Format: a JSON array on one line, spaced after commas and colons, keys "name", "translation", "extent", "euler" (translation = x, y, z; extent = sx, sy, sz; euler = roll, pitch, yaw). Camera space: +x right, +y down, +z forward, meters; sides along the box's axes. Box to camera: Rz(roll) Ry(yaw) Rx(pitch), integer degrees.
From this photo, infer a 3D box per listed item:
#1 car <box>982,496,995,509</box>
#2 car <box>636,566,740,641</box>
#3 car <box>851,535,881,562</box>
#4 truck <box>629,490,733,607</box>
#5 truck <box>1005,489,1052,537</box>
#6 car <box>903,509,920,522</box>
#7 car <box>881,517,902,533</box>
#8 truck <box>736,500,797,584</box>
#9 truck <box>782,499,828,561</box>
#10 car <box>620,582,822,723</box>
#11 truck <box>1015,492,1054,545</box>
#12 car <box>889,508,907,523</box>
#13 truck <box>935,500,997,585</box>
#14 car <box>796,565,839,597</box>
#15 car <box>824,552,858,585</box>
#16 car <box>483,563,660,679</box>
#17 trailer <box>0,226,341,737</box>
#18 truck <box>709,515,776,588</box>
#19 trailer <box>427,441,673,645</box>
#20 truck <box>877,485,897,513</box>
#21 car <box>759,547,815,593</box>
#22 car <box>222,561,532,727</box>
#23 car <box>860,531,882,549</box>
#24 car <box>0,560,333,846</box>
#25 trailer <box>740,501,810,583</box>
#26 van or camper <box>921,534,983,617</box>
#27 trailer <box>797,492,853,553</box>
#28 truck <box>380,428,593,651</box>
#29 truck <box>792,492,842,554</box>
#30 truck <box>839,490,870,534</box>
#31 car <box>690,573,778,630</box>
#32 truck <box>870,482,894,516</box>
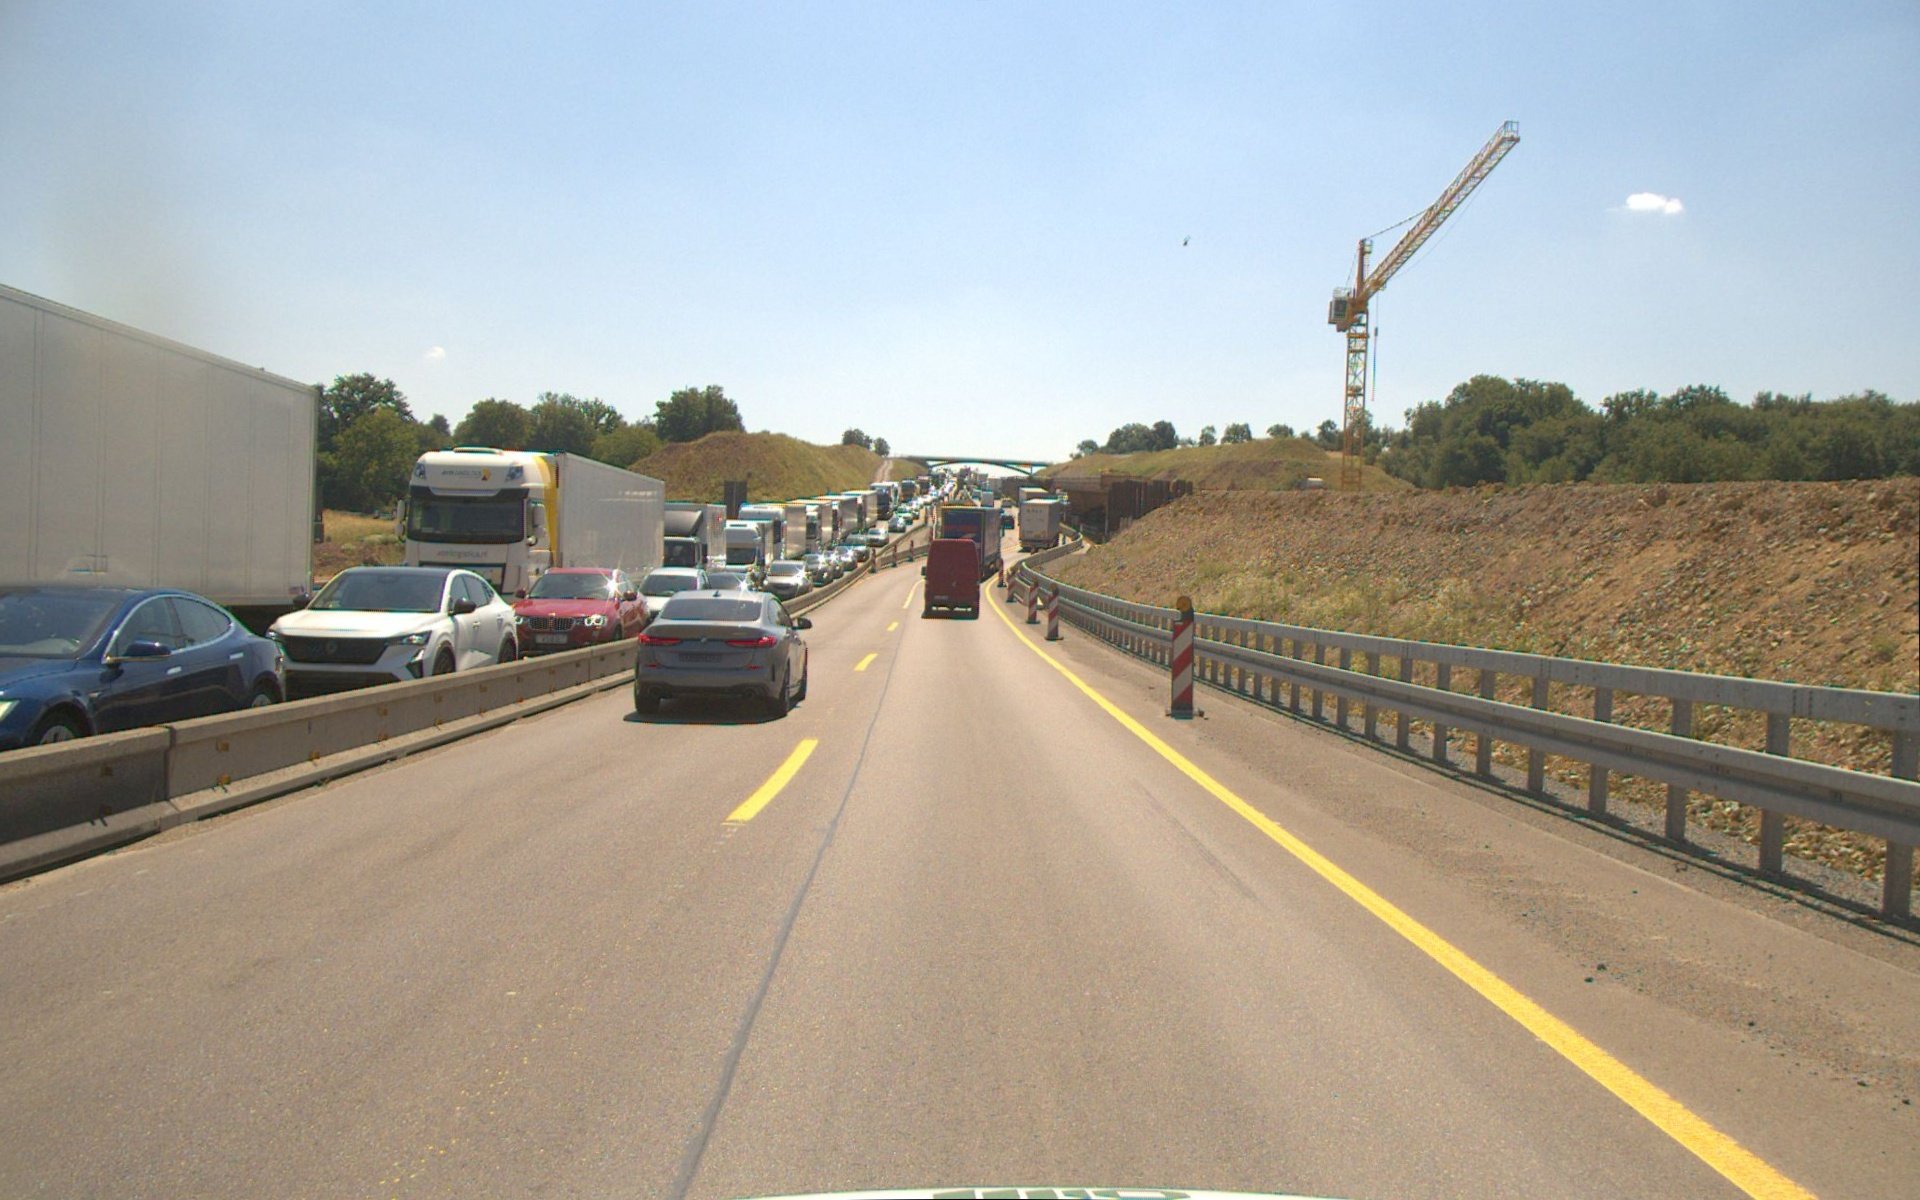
[{"name": "car", "translation": [4.372, -15.065, 255.336], "extent": [1.913, 1.669, 4.267], "euler": [1, 0, -1]}, {"name": "car", "translation": [-6.236, 0.058, 38.343], "extent": [1.790, 1.601, 3.999], "euler": [1, 0, -1]}, {"name": "car", "translation": [-6.662, -3.680, 117.650], "extent": [1.953, 1.814, 3.999], "euler": [1, 2, -2]}, {"name": "truck", "translation": [-10.090, -1.868, 60.721], "extent": [2.474, 3.922, 8.670], "euler": [1, 1, -1]}, {"name": "truck", "translation": [7.862, -9.807, 189.454], "extent": [5.053, 5.083, 13.882], "euler": [-1, 2, 2]}, {"name": "car", "translation": [-5.980, -10.427, 204.424], "extent": [1.913, 1.556, 4.267], "euler": [1, 2, -1]}, {"name": "car", "translation": [-6.939, -7.644, 168.295], "extent": [1.913, 1.556, 4.267], "euler": [1, 2, -1]}, {"name": "truck", "translation": [-10.324, -3.107, 88.816], "extent": [2.499, 4.304, 6.531], "euler": [1, 2, -1]}, {"name": "truck", "translation": [-10.399, -4.645, 111.368], "extent": [2.726, 3.937, 5.459], "euler": [1, 0, -2]}, {"name": "car", "translation": [-2.815, 0.554, 20.506], "extent": [1.814, 1.477, 4.742], "euler": [1, 1, 0]}, {"name": "truck", "translation": [6.385, -6.904, 141.181], "extent": [2.974, 4.172, 7.089], "euler": [1, 0, 5]}, {"name": "car", "translation": [-7.026, -9.602, 188.137], "extent": [1.913, 1.556, 4.267], "euler": [1, 2, -1]}, {"name": "truck", "translation": [0.413, -3.375, 96.725], "extent": [2.956, 4.774, 6.938], "euler": [0, 2, 5]}, {"name": "car", "translation": [-7.207, -0.969, 84.024], "extent": [1.790, 1.562, 4.546], "euler": [1, 0, -1]}, {"name": "car", "translation": [-7.488, -1.982, 104.631], "extent": [1.953, 1.814, 3.998], "euler": [1, -2, -2]}, {"name": "car", "translation": [-6.487, 0.277, 28.183], "extent": [1.953, 1.659, 4.757], "euler": [2, 2, -2]}, {"name": "trailer", "translation": [-9.949, -1.081, 15.633], "extent": [3.077, 4.459, 14.076], "euler": [1, 1, -1]}, {"name": "truck", "translation": [-9.972, -2.275, 76.348], "extent": [2.385, 3.202, 7.023], "euler": [1, 2, -2]}, {"name": "trailer", "translation": [-9.976, -1.349, 42.309], "extent": [2.925, 4.281, 13.945], "euler": [1, 1, -1]}, {"name": "truck", "translation": [-10.812, -14.856, 243.706], "extent": [2.830, 3.905, 7.999], "euler": [1, 2, -2]}, {"name": "car", "translation": [-7.023, -1.180, 67.410], "extent": [1.790, 1.679, 4.545], "euler": [-4, 0, -1]}, {"name": "car", "translation": [-6.498, 0.424, 19.091], "extent": [1.953, 1.648, 4.880], "euler": [1, 0, -2]}, {"name": "car", "translation": [-7.573, -5.119, 141.086], "extent": [1.711, 1.433, 4.000], "euler": [1, 2, -1]}, {"name": "car", "translation": [-6.148, 0.518, 11.255], "extent": [1.775, 1.462, 5.122], "euler": [2, 2, 0]}, {"name": "trailer", "translation": [-10.363, -3.263, 93.891], "extent": [2.542, 4.331, 12.468], "euler": [1, 2, 0]}, {"name": "van or camper", "translation": [-0.338, -0.902, 58.596], "extent": [1.988, 2.791, 4.514], "euler": [1, 2, -2]}, {"name": "trailer", "translation": [-10.667, -6.099, 131.805], "extent": [2.979, 4.631, 12.132], "euler": [1, 2, 2]}, {"name": "truck", "translation": [-9.861, -1.228, 35.134], "extent": [2.917, 4.257, 5.873], "euler": [1, 1, -2]}, {"name": "truck", "translation": [-10.893, -5.886, 126.359], "extent": [2.988, 4.557, 5.984], "euler": [1, 3, 2]}, {"name": "truck", "translation": [-9.737, -8.114, 153.427], "extent": [2.629, 3.905, 7.384], "euler": [1, 2, -2]}, {"name": "car", "translation": [-6.612, 0.043, 48.813], "extent": [1.952, 1.584, 4.338], "euler": [1, 0, 0]}, {"name": "truck", "translation": [-9.585, -12.303, 202.716], "extent": [2.830, 3.905, 7.999], "euler": [1, 2, -2]}]
